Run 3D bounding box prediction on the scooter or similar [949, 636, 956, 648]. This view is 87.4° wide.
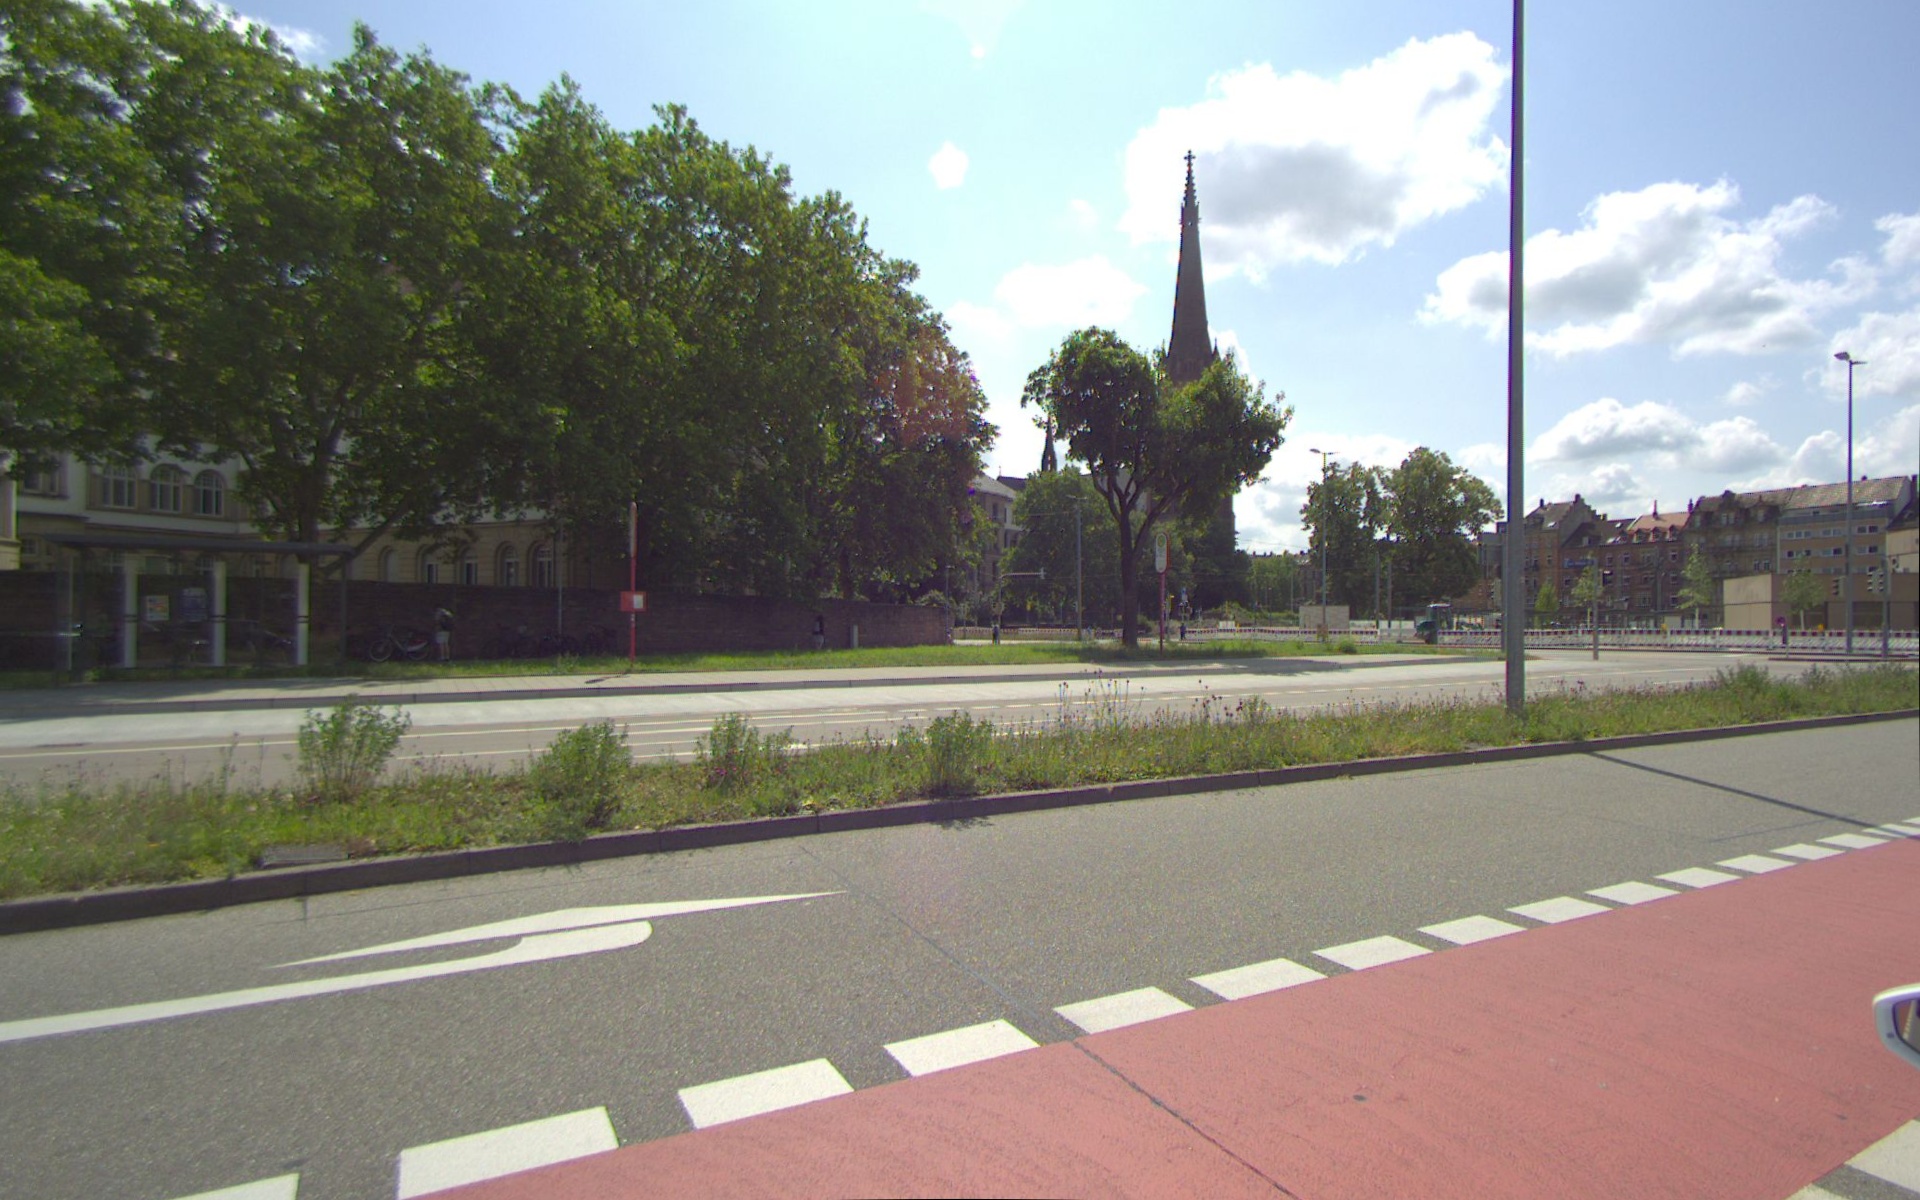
[{"bbox_3d":[-0.429,2.472,58.989,0.117,0.721,1.005,0,-1,17],"label":"scooter or similar"}]

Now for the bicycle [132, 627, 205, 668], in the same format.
[{"bbox_3d":[-19.408,1.156,24.651,0.260,0.977,1.391,0,-1,36],"label":"bicycle"}]

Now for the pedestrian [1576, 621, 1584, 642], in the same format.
[{"bbox_3d":[52.320,2.659,84.722,0.409,1.674,0.425,2,0,4],"label":"pedestrian"}]

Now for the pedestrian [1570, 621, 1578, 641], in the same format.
[{"bbox_3d":[52.318,2.663,85.598,0.409,1.674,0.425,2,0,4],"label":"pedestrian"}]

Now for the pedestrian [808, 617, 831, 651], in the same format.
[{"bbox_3d":[-5.931,1.437,42.494,0.720,1.413,0.714,1,-1,-35],"label":"pedestrian"}]

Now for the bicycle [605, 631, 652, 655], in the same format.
[{"bbox_3d":[-11.767,1.529,35.687,0.324,0.828,1.743,0,-1,36],"label":"bicycle"}]

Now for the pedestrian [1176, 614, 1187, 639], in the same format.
[{"bbox_3d":[18.261,2.216,82.958,0.625,2.040,0.643,1,-1,-32],"label":"pedestrian"}]

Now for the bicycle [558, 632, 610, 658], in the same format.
[{"bbox_3d":[-12.771,1.525,34.160,0.324,0.828,1.743,0,-1,36],"label":"bicycle"}]

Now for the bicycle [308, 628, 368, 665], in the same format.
[{"bbox_3d":[-17.151,1.264,27.721,0.260,0.977,1.391,0,-1,36],"label":"bicycle"}]

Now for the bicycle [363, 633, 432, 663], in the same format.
[{"bbox_3d":[-16.231,1.378,29.018,0.324,0.828,1.743,0,-1,36],"label":"bicycle"}]

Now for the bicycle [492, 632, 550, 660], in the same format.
[{"bbox_3d":[-14.041,1.460,32.163,0.378,0.828,1.743,0,-1,36],"label":"bicycle"}]

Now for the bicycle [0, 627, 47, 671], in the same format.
[{"bbox_3d":[-21.248,1.089,22.330,0.260,0.977,1.391,0,-1,36],"label":"bicycle"}]

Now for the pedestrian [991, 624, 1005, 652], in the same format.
[{"bbox_3d":[2.822,2.830,74.712,0.713,2.040,0.721,1,-1,-32],"label":"pedestrian"}]

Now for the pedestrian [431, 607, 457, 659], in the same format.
[{"bbox_3d":[-15.091,0.955,29.387,0.627,1.492,0.506,1,-1,-32],"label":"pedestrian"}]
